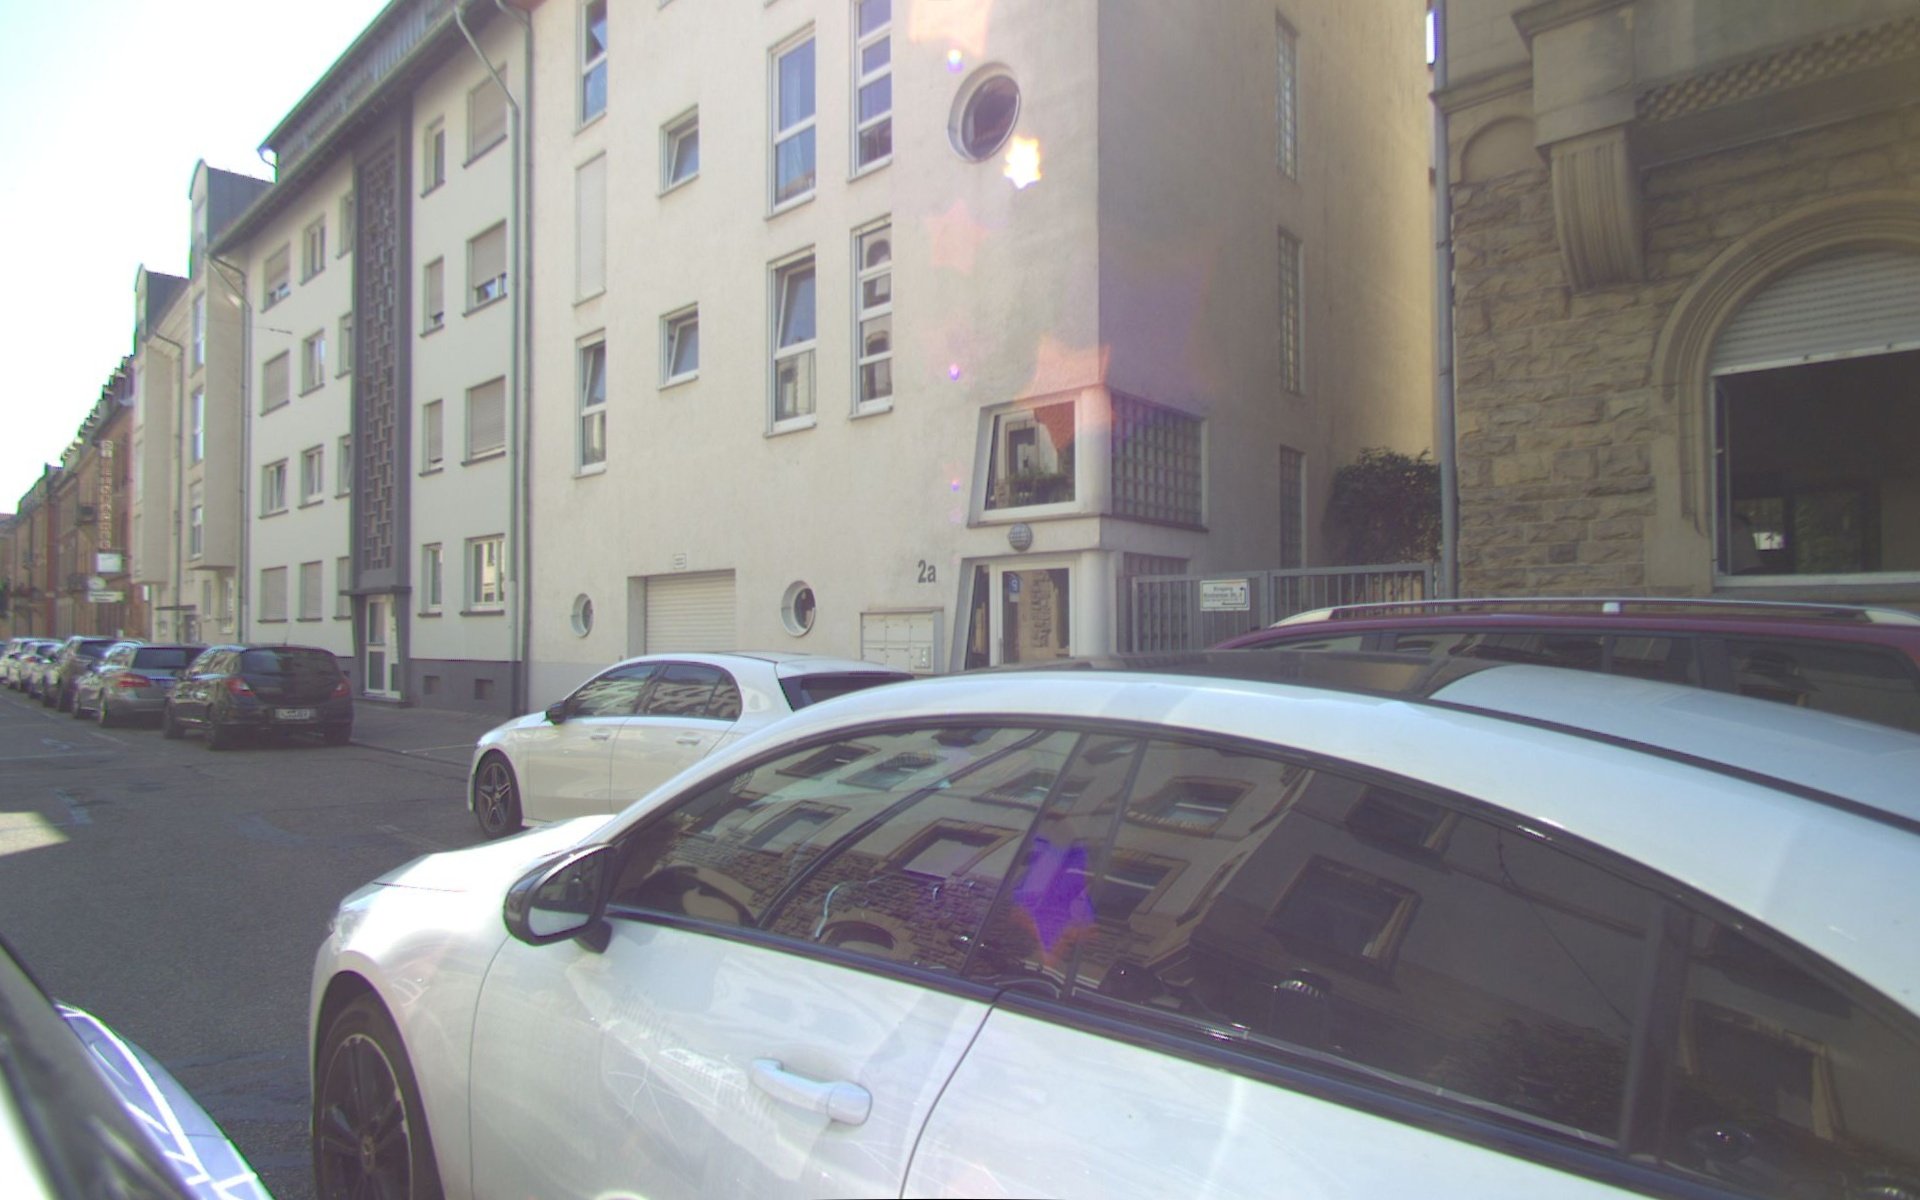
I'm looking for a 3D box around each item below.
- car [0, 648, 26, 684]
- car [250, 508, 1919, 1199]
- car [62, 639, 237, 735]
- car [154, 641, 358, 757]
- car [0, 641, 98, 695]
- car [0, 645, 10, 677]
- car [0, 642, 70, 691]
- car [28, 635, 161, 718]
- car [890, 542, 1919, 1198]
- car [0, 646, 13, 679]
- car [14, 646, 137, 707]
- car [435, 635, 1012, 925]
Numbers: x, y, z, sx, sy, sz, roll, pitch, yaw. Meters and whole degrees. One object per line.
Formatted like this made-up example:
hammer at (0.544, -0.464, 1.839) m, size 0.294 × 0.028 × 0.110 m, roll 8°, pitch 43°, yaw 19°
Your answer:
car at (-40.648, 2.710, 42.500) m, size 3.837 × 1.440 × 1.757 m, roll -2°, pitch -7°, yaw 44°
car at (0.490, 0.757, 1.794) m, size 4.360 × 1.472 × 1.822 m, roll -2°, pitch -5°, yaw 41°
car at (-14.871, 1.514, 18.482) m, size 4.669 × 1.530 × 1.639 m, roll -2°, pitch -5°, yaw 41°
car at (-10.634, 1.402, 15.190) m, size 3.892 × 1.503 × 1.550 m, roll -2°, pitch -5°, yaw 41°
car at (-27.619, 2.027, 30.557) m, size 4.346 × 1.506 × 1.712 m, roll -2°, pitch -5°, yaw 41°
car at (-47.956, 2.926, 49.637) m, size 3.522 × 1.555 × 1.432 m, roll -2°, pitch -7°, yaw 40°
car at (-32.706, 2.306, 35.389) m, size 3.849 × 1.561 × 1.612 m, roll -2°, pitch -6°, yaw 39°
car at (-19.010, 1.632, 22.187) m, size 3.975 × 1.657 × 1.587 m, roll -2°, pitch -5°, yaw 41°
car at (1.764, 0.736, 4.061) m, size 4.049 × 1.595 × 1.655 m, roll -2°, pitch -5°, yaw 40°
car at (-44.533, 2.807, 46.163) m, size 3.679 × 1.440 × 1.610 m, roll -2°, pitch -7°, yaw 44°
car at (-22.701, 1.919, 25.928) m, size 4.346 × 1.404 × 1.746 m, roll -2°, pitch -5°, yaw 41°
car at (-1.873, 1.020, 7.239) m, size 4.275 × 1.471 × 1.758 m, roll -2°, pitch -5°, yaw 40°
